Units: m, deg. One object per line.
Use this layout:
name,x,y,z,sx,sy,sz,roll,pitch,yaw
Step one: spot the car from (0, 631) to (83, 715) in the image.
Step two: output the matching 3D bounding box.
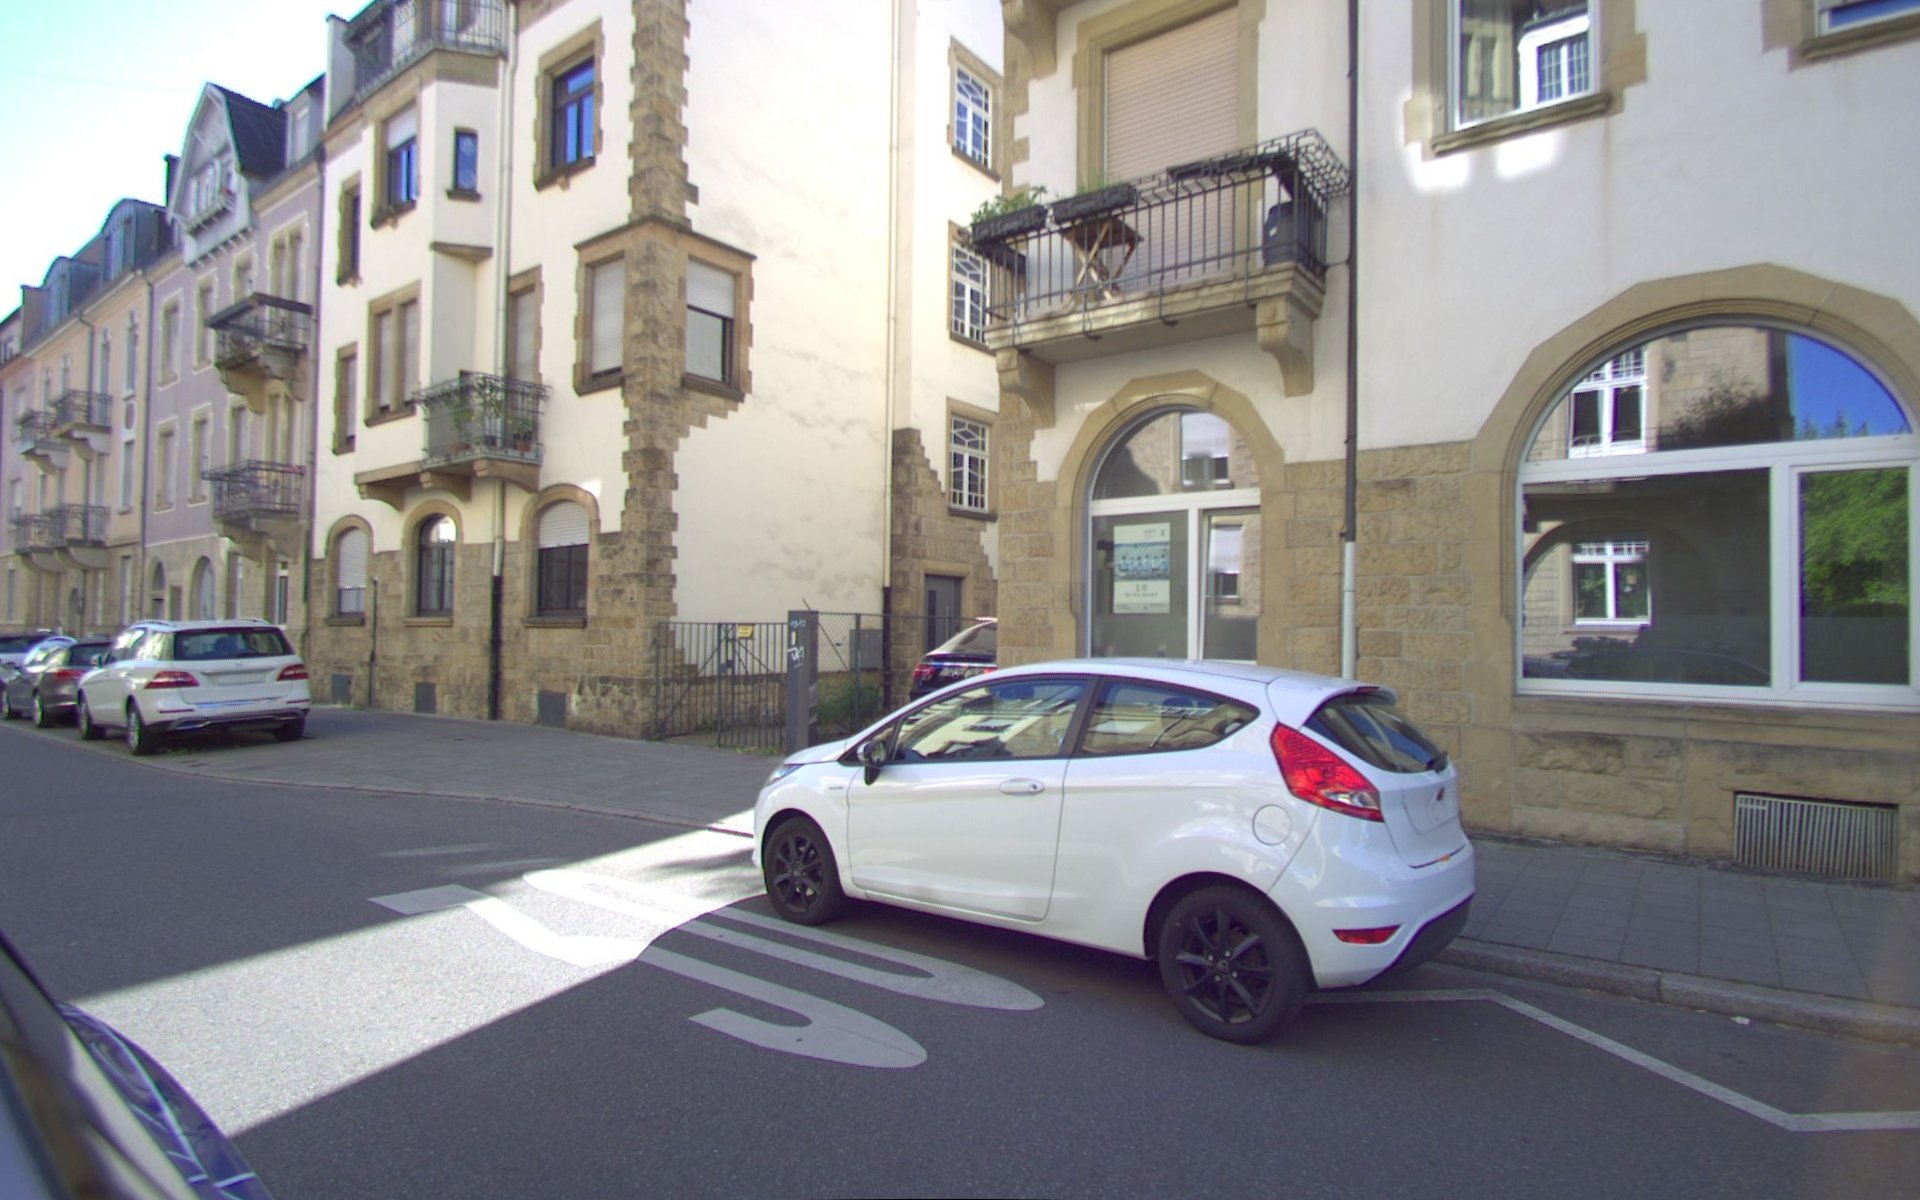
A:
car,-20.211,1.501,21.352,4.012,1.595,1.700,-2,0,36

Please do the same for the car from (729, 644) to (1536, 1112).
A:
car,0.640,0.980,5.132,3.732,1.475,1.617,-2,-3,40

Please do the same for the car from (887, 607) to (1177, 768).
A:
car,1.069,1.049,13.150,1.907,1.741,3.930,-2,-3,38

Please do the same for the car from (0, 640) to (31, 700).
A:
car,-24.400,1.729,24.704,3.655,1.404,1.659,-2,0,33

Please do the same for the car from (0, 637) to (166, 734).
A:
car,-15.757,1.422,17.963,4.272,1.498,1.559,-2,-1,37

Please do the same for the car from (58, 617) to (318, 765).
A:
car,-11.194,1.188,14.554,4.720,1.735,1.874,-2,0,39
